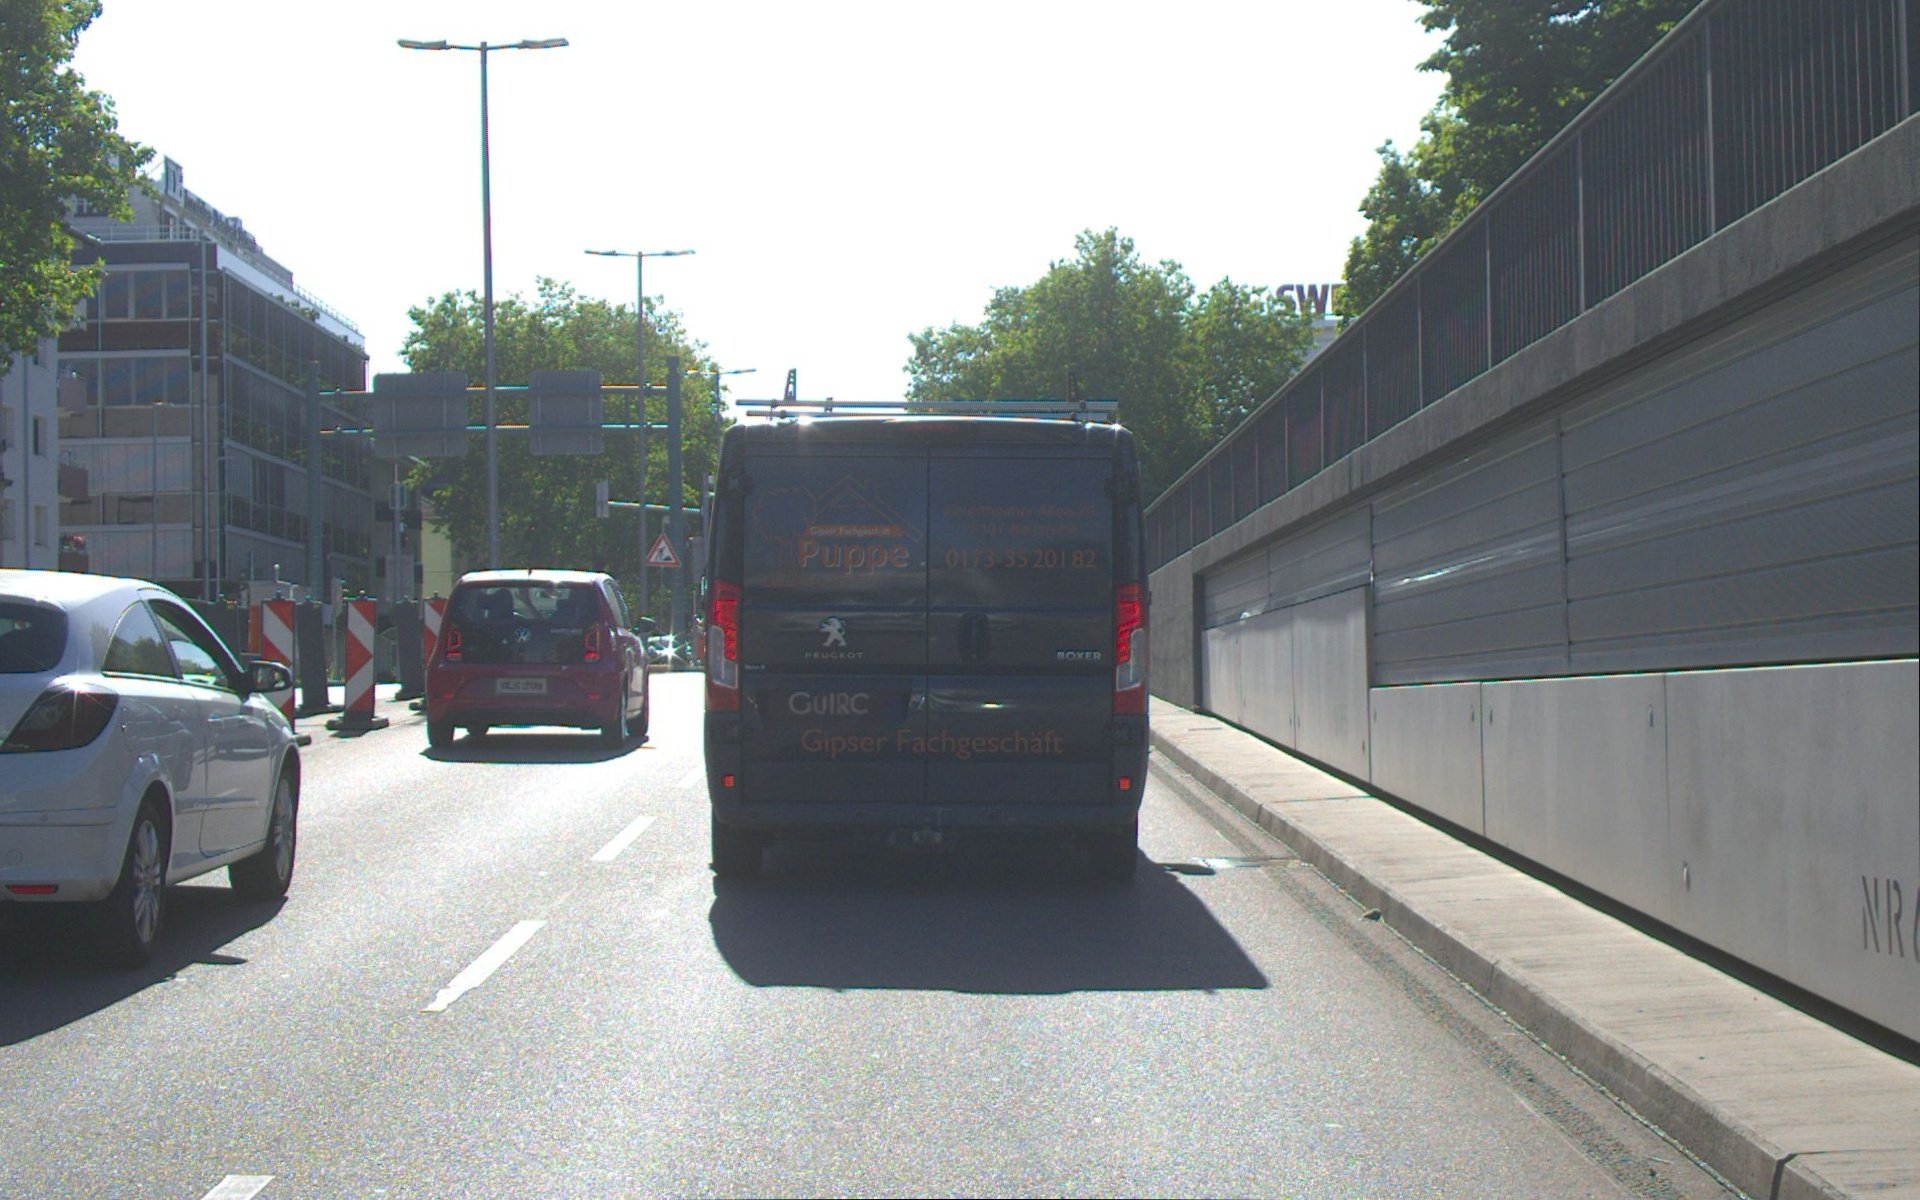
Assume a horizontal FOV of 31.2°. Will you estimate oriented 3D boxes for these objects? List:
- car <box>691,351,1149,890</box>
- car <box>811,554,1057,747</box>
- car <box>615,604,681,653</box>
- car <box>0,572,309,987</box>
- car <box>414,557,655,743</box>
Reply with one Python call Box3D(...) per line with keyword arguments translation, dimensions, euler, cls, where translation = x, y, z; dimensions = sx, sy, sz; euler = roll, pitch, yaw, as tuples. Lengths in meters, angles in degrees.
Box3D(translation=(-0.198, 0.089, 17.257), dimensions=(2.030, 2.394, 3.973), euler=(0, 0, -1), cls="car")
Box3D(translation=(-0.195, 0.373, 28.725), dimensions=(1.892, 1.470, 3.991), euler=(1, 1, 0), cls="car")
Box3D(translation=(-8.931, 0.809, 98.704), dimensions=(1.538, 1.295, 3.928), euler=(-3, 0, -1), cls="car")
Box3D(translation=(-3.722, 0.592, 13.546), dimensions=(1.619, 1.398, 3.852), euler=(1, 0, -1), cls="car")
Box3D(translation=(-3.572, 0.399, 29.365), dimensions=(1.689, 1.478, 3.319), euler=(1, 0, -1), cls="car")
